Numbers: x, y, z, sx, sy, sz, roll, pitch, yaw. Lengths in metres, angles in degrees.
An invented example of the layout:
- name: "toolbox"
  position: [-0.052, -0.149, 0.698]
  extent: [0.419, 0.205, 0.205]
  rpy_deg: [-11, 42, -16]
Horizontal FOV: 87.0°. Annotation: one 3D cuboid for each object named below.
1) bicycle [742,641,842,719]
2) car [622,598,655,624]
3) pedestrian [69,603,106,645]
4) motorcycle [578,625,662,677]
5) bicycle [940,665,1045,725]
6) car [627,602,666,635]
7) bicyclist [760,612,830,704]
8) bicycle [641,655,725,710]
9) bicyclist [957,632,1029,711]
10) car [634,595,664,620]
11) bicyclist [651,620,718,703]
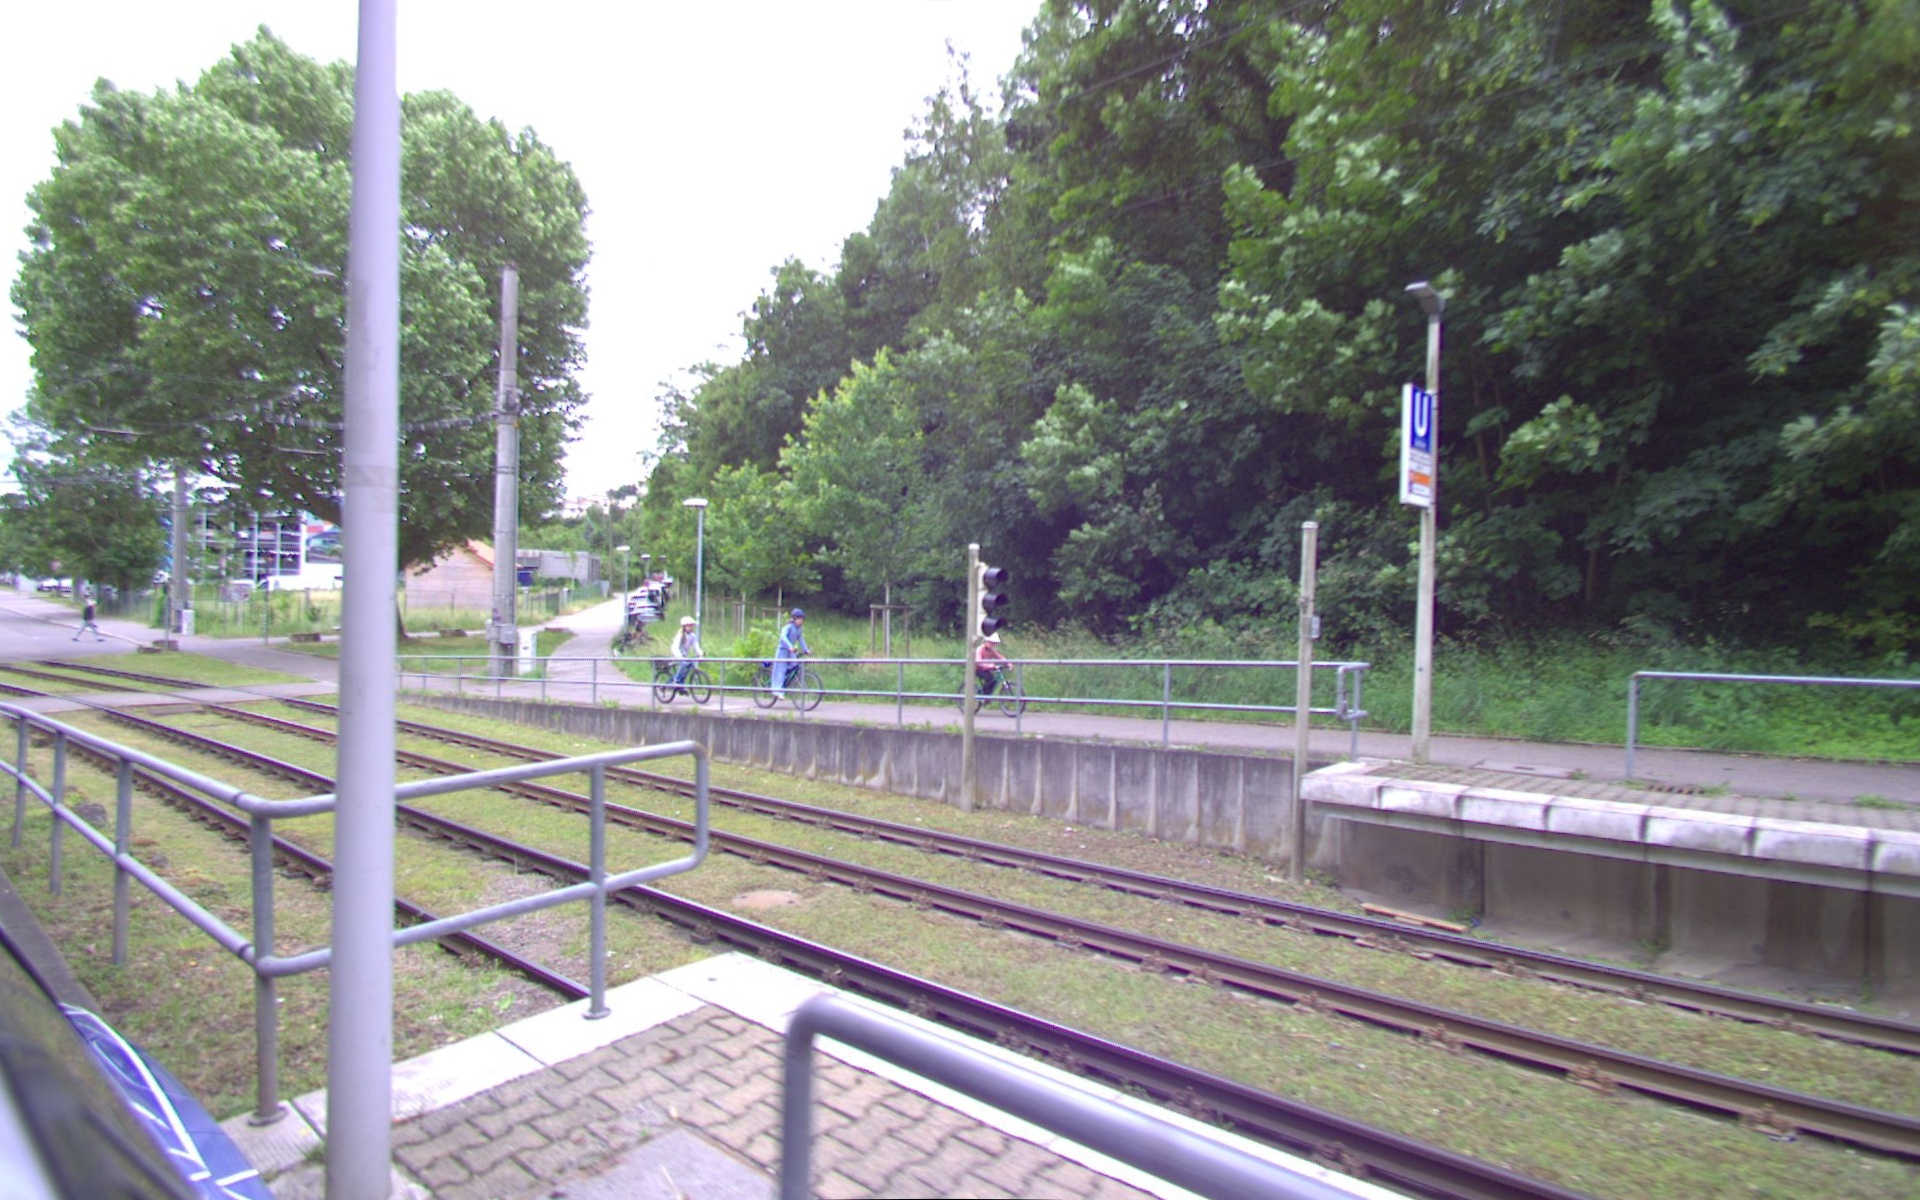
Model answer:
- name: "bicycle"
  position: [-2.779, 1.296, 16.608]
  extent: [1.939, 1.197, 0.458]
  rpy_deg: [-3, -2, 41]
- name: "car"
  position: [-21.292, 0.714, 67.030]
  extent: [1.966, 1.696, 4.012]
  rpy_deg: [-1, 0, -17]
- name: "pedestrian"
  position: [-37.117, 0.999, 43.068]
  extent: [1.100, 1.747, 0.696]
  rpy_deg: [-1, 0, -34]
- name: "motorcycle"
  position: [-11.345, 1.681, 33.905]
  extent: [1.247, 1.564, 3.046]
  rpy_deg: [-1, 0, 14]
- name: "bicycle"
  position: [0.450, 1.338, 14.457]
  extent: [1.564, 0.787, 0.445]
  rpy_deg: [-3, -2, 42]
- name: "car"
  position: [-17.193, 0.997, 55.539]
  extent: [1.966, 1.696, 4.012]
  rpy_deg: [-1, 0, -17]
- name: "bicyclist"
  position: [-2.717, 0.941, 16.646]
  extent: [0.839, 1.454, 0.722]
  rpy_deg: [-3, -2, 40]
- name: "bicycle"
  position: [-5.036, 1.490, 18.314]
  extent: [1.843, 0.932, 0.473]
  rpy_deg: [-4, -2, 40]
- name: "bicyclist"
  position: [0.468, 1.005, 14.414]
  extent: [0.744, 1.061, 0.682]
  rpy_deg: [-3, -2, 41]
- name: "car"
  position: [-22.163, 0.509, 72.153]
  extent: [1.966, 1.696, 4.012]
  rpy_deg: [-1, 0, -17]
- name: "bicyclist"
  position: [-4.979, 1.099, 18.282]
  extent: [0.907, 1.442, 0.737]
  rpy_deg: [-4, -2, 40]
